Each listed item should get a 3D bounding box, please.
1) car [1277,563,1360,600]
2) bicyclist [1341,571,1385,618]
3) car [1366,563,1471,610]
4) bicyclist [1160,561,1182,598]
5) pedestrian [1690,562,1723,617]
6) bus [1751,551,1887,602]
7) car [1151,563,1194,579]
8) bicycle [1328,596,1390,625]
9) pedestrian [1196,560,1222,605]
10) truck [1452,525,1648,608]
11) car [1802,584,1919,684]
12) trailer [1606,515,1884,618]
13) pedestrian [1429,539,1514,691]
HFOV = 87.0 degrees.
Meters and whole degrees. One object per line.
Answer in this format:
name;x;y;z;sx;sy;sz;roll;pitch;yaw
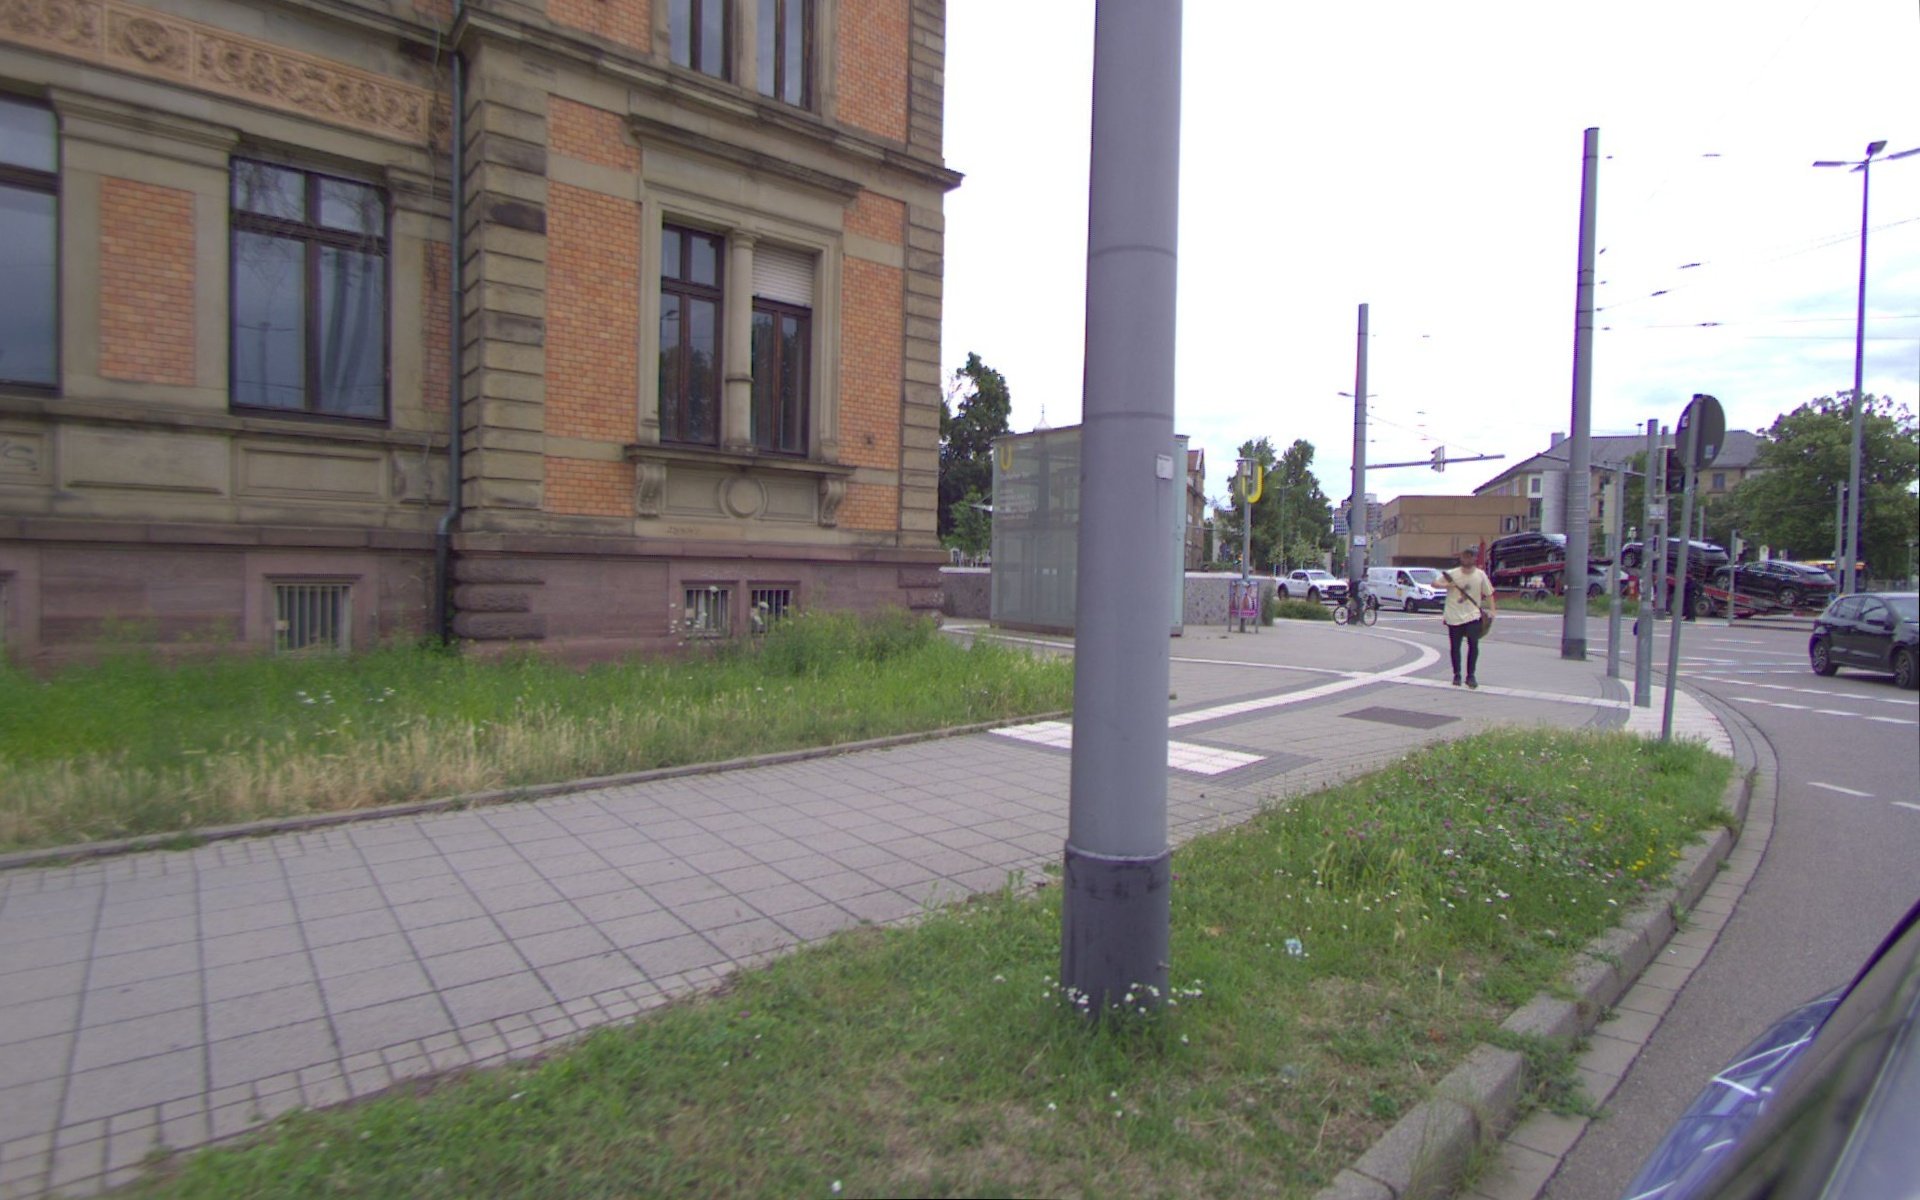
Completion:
car;19.010;-1.020;53.916;2.047;1.871;4.761;1;2;-11
bicyclist;13.467;-0.182;33.815;1.078;1.539;0.762;1;1;-13
car;20.322;-0.644;45.082;1.958;1.966;4.533;1;2;-12
bicyclist;9.217;-0.894;44.280;0.686;1.580;0.918;3;1;25
pedestrian;27.523;-0.400;37.320;0.774;1.967;0.972;2;1;29
bus;56.839;-1.669;67.449;2.829;3.115;11.946;0;2;20
car;24.774;-3.401;117.928;5.142;1.738;1.914;0;2;-34
bicycle;13.345;0.343;33.875;1.788;0.850;0.769;3;1;-13
pedestrian;10.844;-0.760;44.114;0.859;1.952;0.723;0;2;-42
truck;31.083;-1.811;54.154;2.953;3.968;10.478;-1;2;-10
car;15.216;0.493;15.863;1.634;1.430;3.979;1;2;17
trailer;33.742;-1.485;44.238;2.934;4.022;9.577;-1;2;-18
pedestrian;6.760;0.167;13.350;0.880;1.890;1.272;2;1;31
